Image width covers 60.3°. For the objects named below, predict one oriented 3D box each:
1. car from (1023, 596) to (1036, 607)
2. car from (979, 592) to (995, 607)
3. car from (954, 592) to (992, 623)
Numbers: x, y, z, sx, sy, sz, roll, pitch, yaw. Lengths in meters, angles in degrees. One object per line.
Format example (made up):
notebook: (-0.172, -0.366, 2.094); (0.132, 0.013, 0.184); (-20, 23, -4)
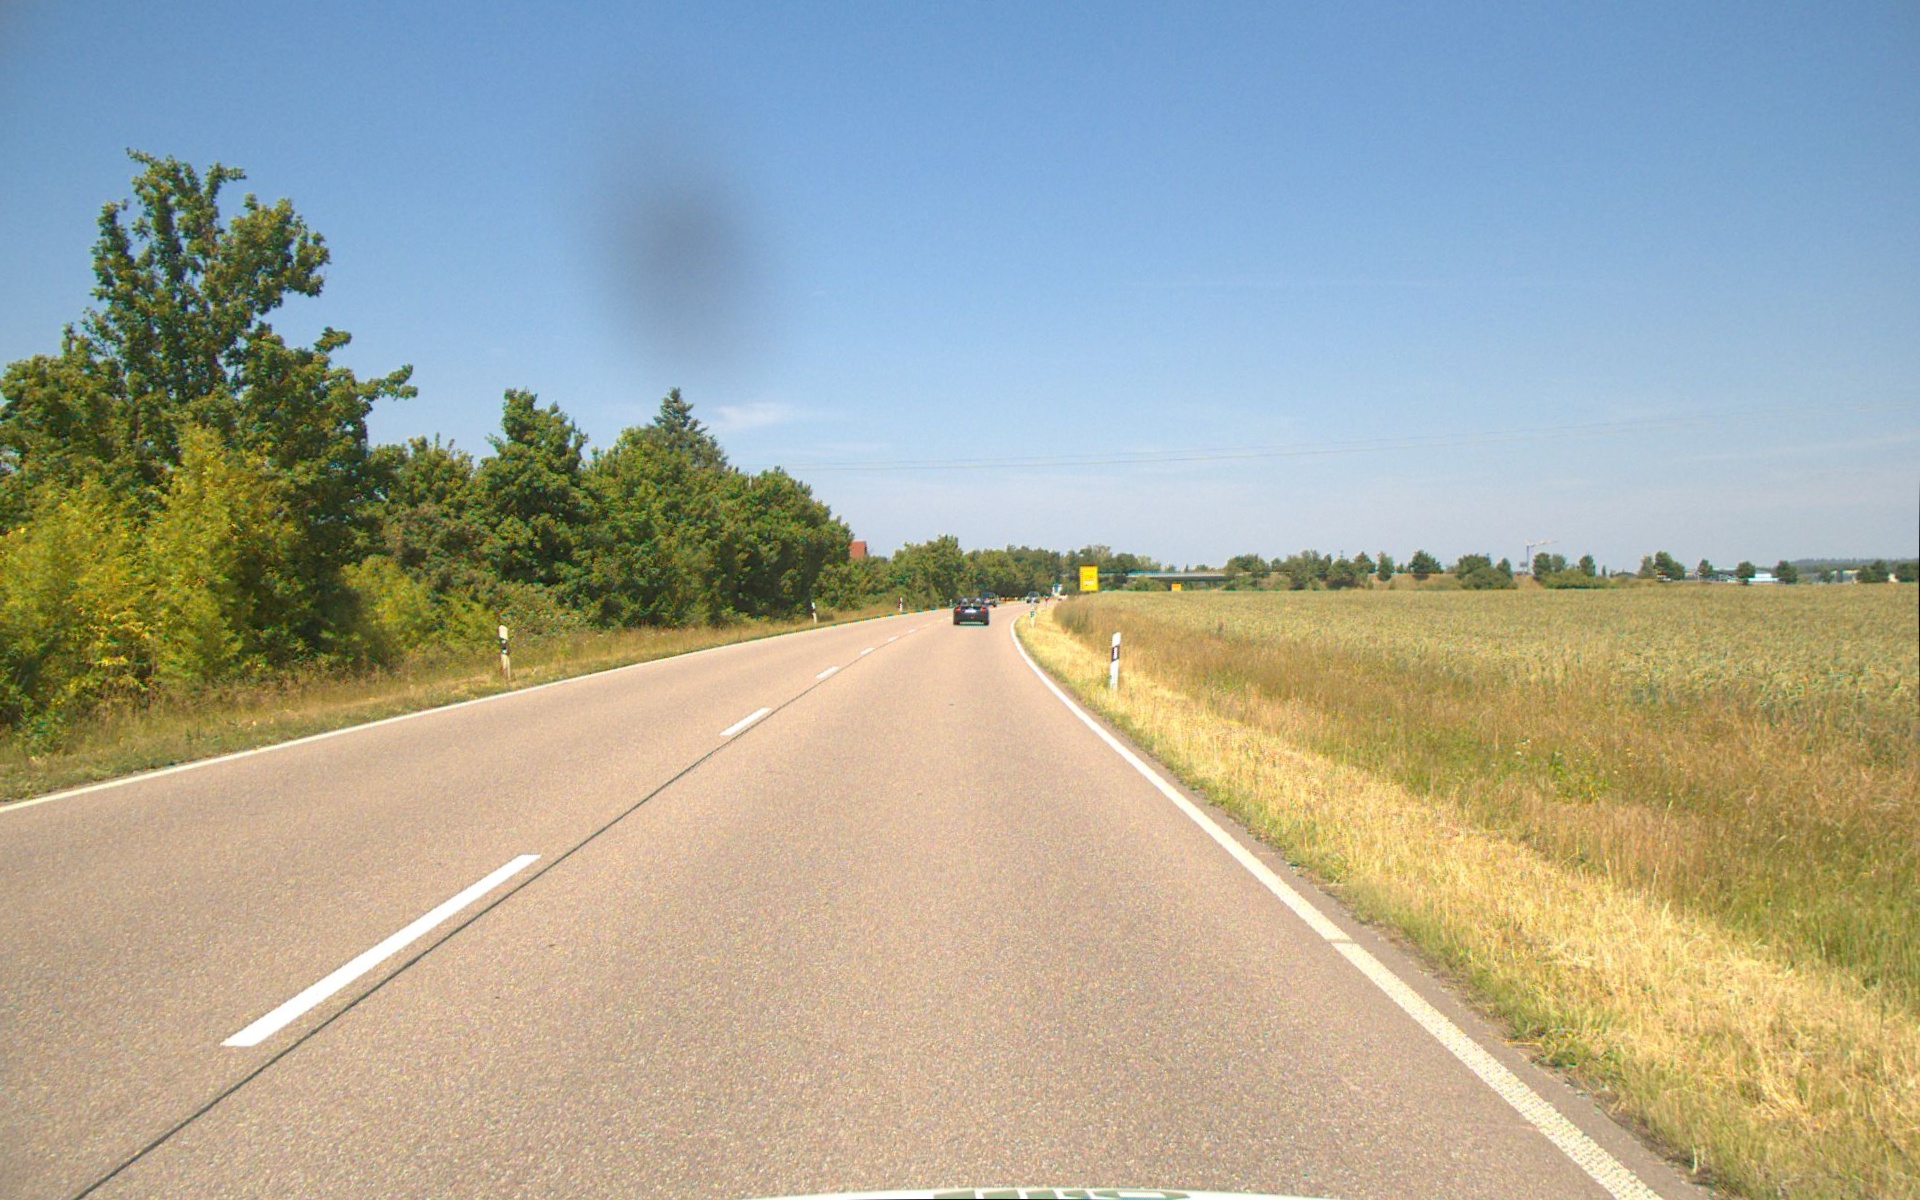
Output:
car: (10.638, 0.203, 253.061); (1.780, 1.731, 5.004); (0, 0, 4)
car: (2.928, -0.023, 182.063); (1.663, 1.594, 3.672); (1, 0, 2)
car: (0.670, 0.340, 81.906); (1.777, 1.466, 4.001); (1, 0, 1)
